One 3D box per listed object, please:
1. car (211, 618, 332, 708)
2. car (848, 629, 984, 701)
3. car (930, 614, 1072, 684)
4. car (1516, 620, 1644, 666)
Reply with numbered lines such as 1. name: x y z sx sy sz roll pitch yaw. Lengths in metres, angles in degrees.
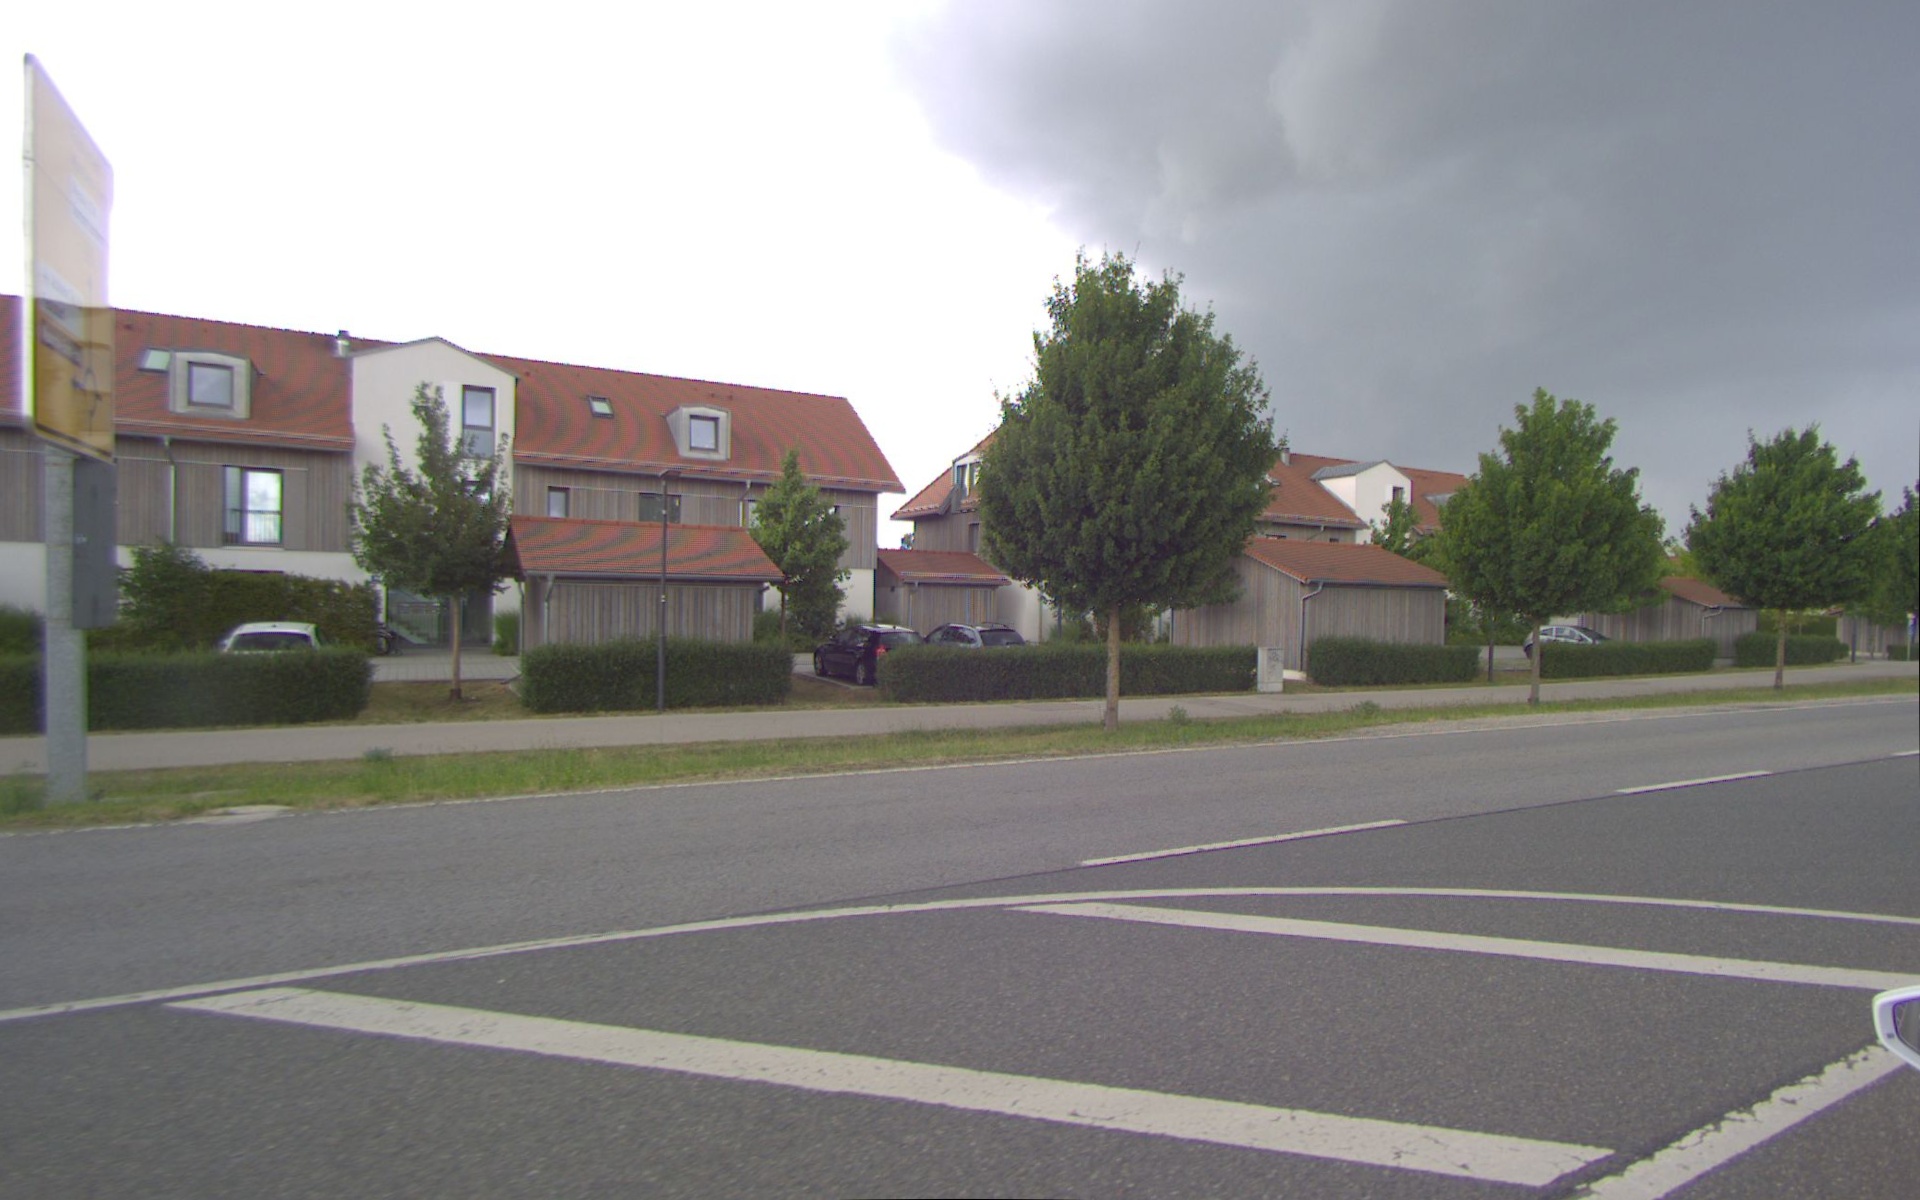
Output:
1. car: -12.776 1.090 18.808 1.545 1.509 3.498 1 -1 -29
2. car: -1.203 1.570 25.560 1.975 1.639 3.971 1 -1 -28
3. car: 0.965 1.201 25.996 1.975 1.639 3.971 1 -1 -28
4. car: 25.195 1.718 40.966 1.975 1.577 3.970 1 2 -28
